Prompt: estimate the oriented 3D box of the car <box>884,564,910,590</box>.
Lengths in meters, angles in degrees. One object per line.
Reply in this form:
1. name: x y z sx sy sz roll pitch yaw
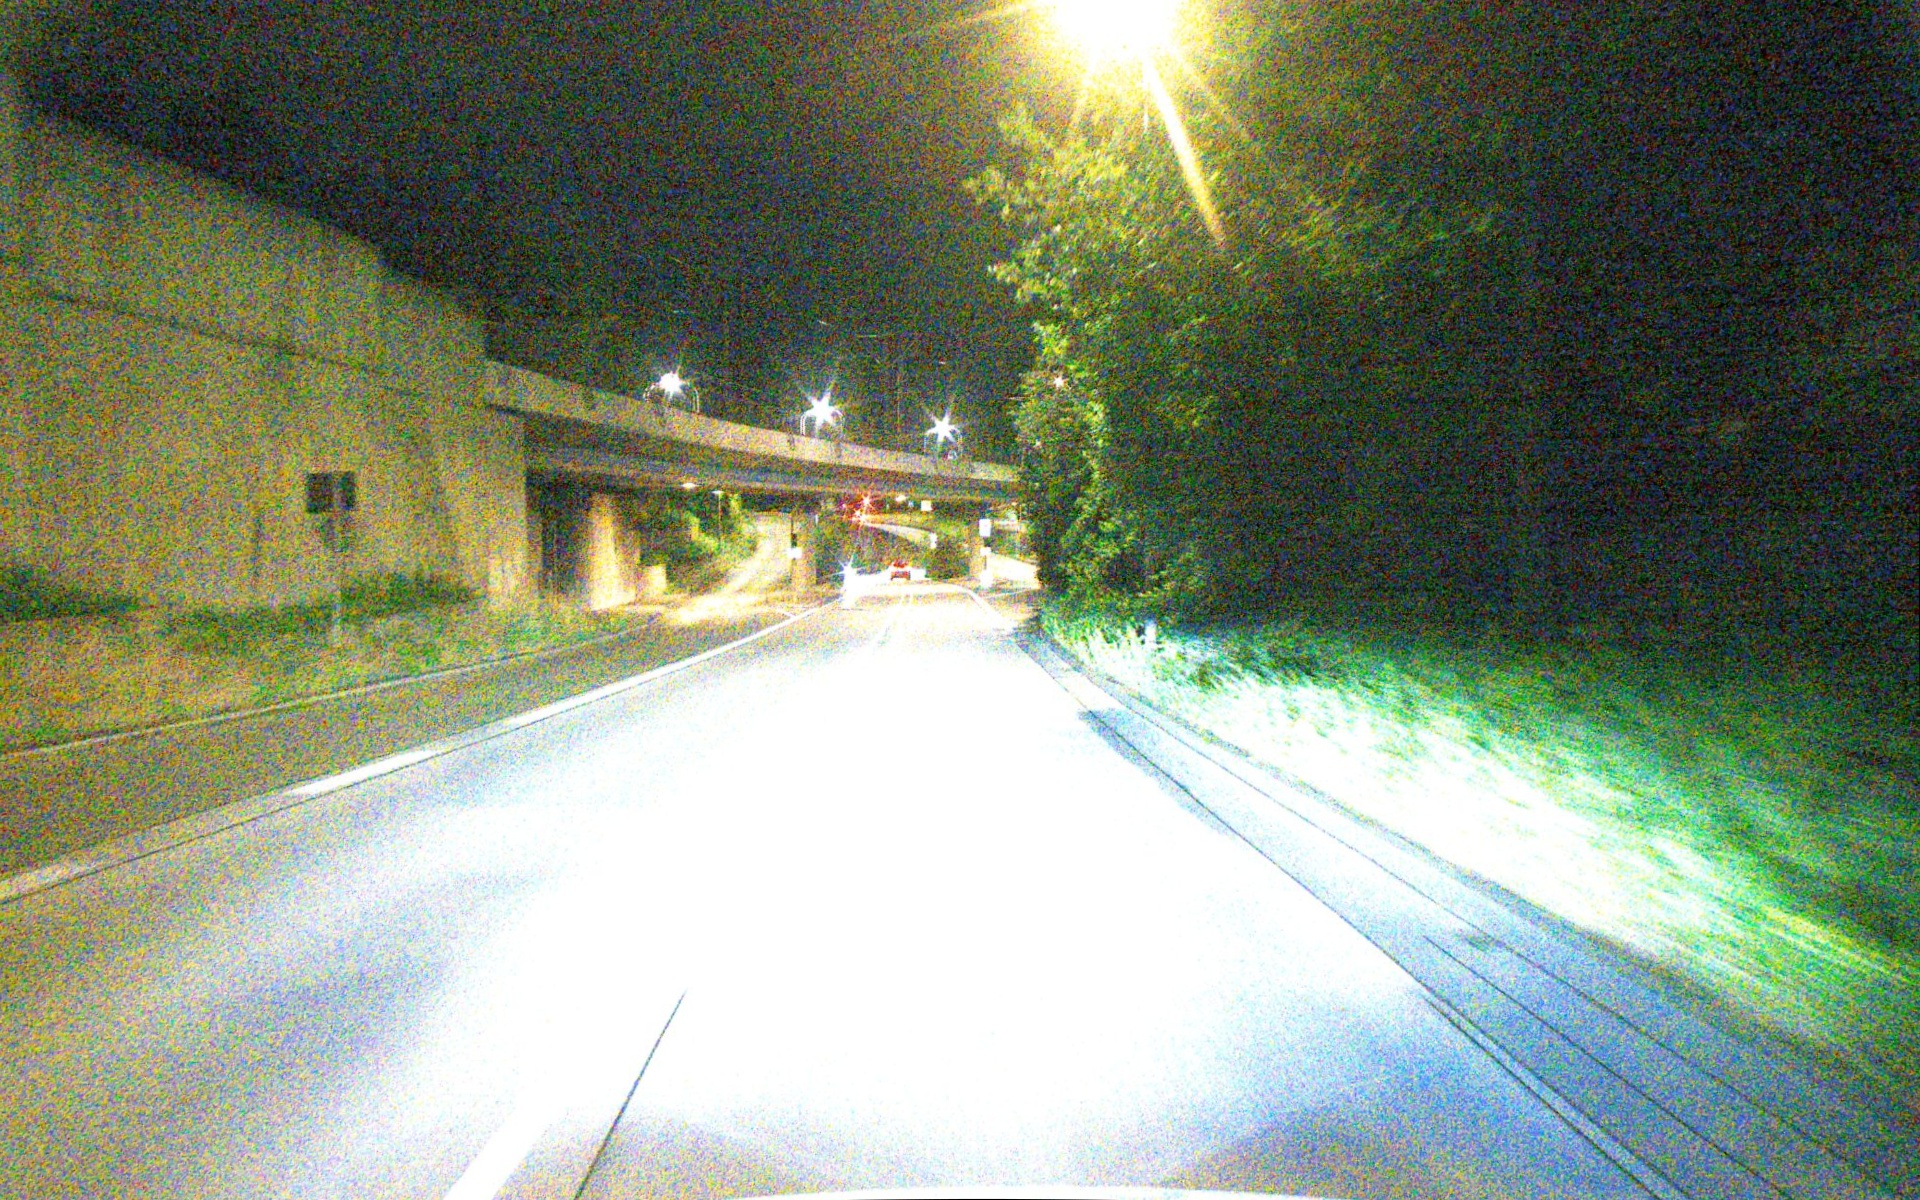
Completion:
1. car: -5.400 -1.933 140.986 1.882 2.049 4.117 2 0 -6
